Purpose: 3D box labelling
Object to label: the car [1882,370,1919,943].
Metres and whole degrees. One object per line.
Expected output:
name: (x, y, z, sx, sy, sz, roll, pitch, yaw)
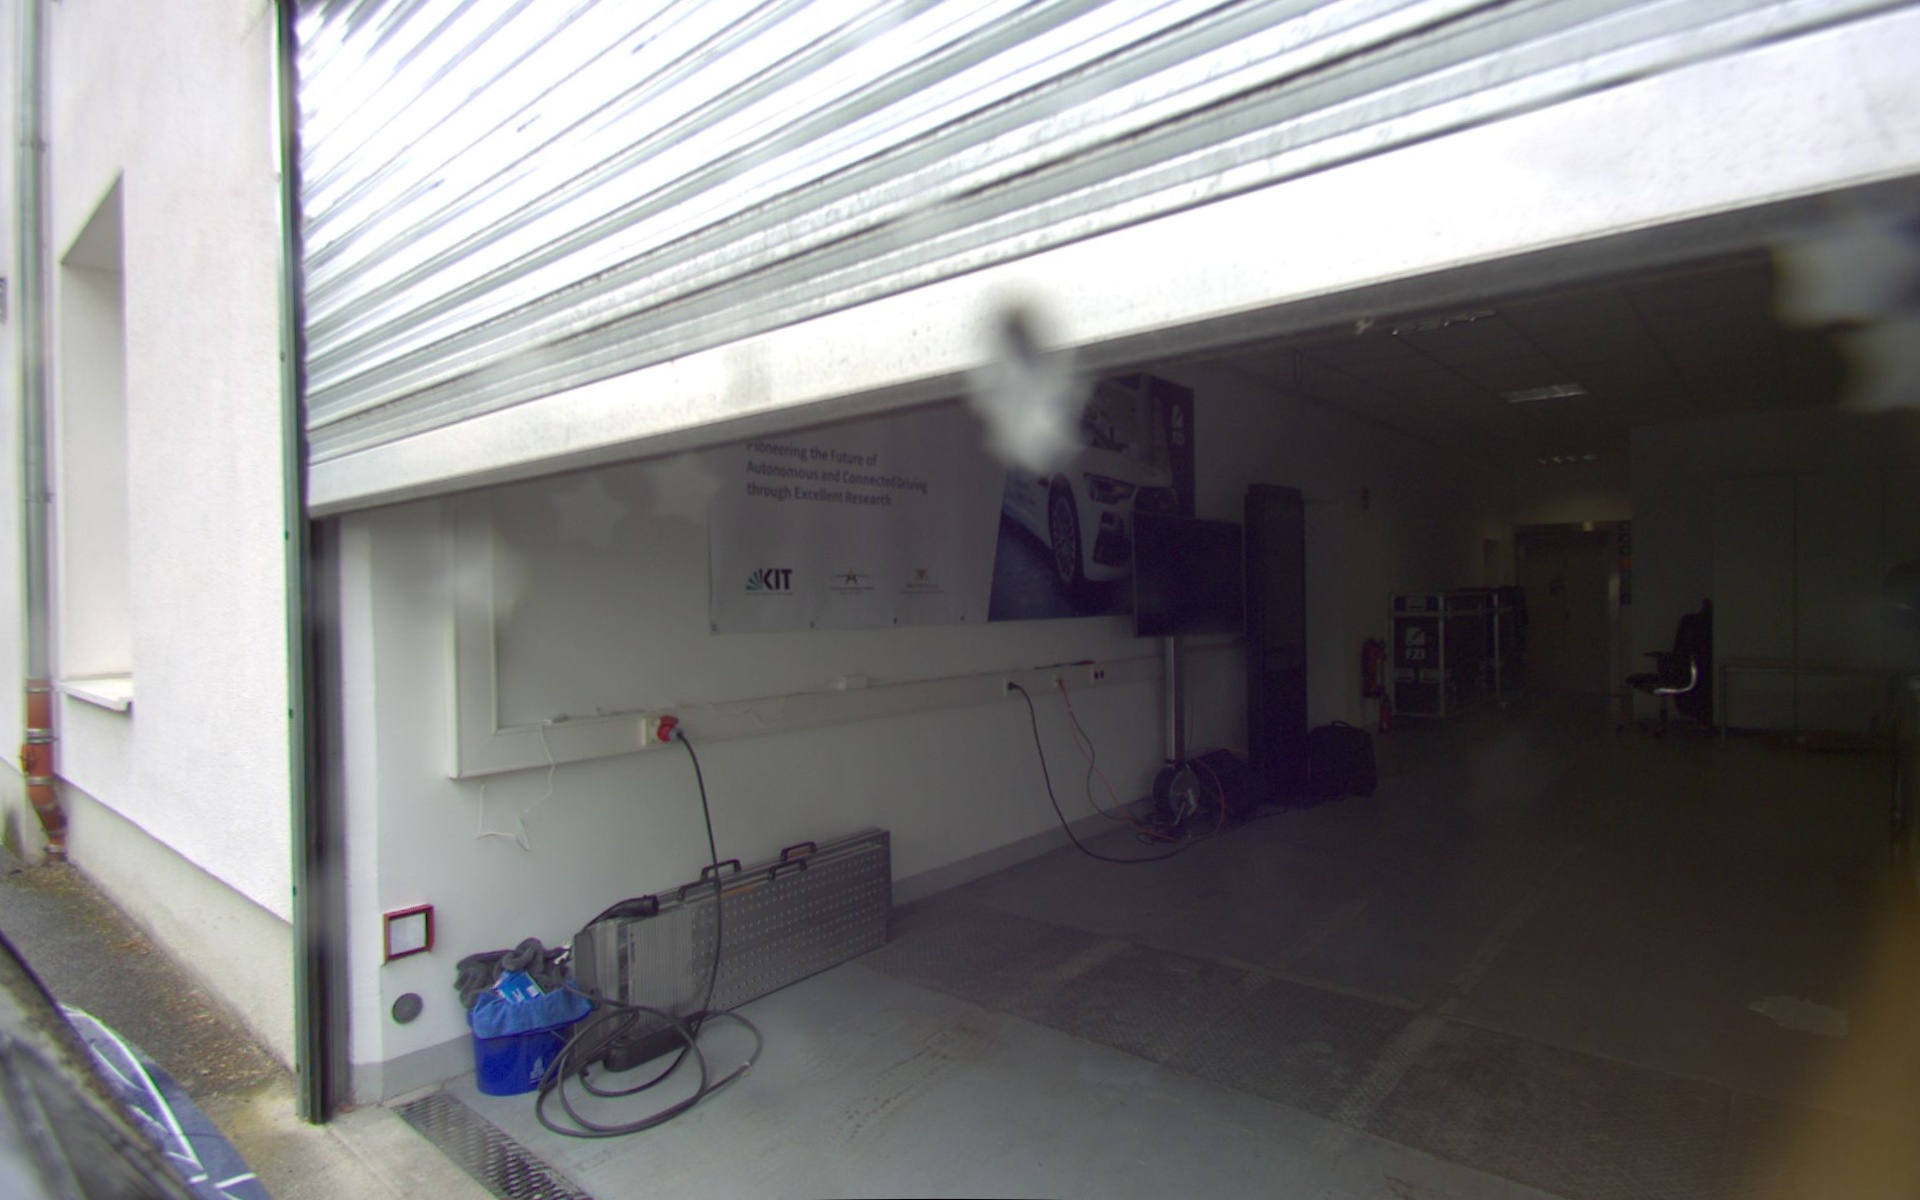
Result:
car: (3.836, 0.249, 2.490, 2.083, 2.029, 4.643, -1, 1, 40)
